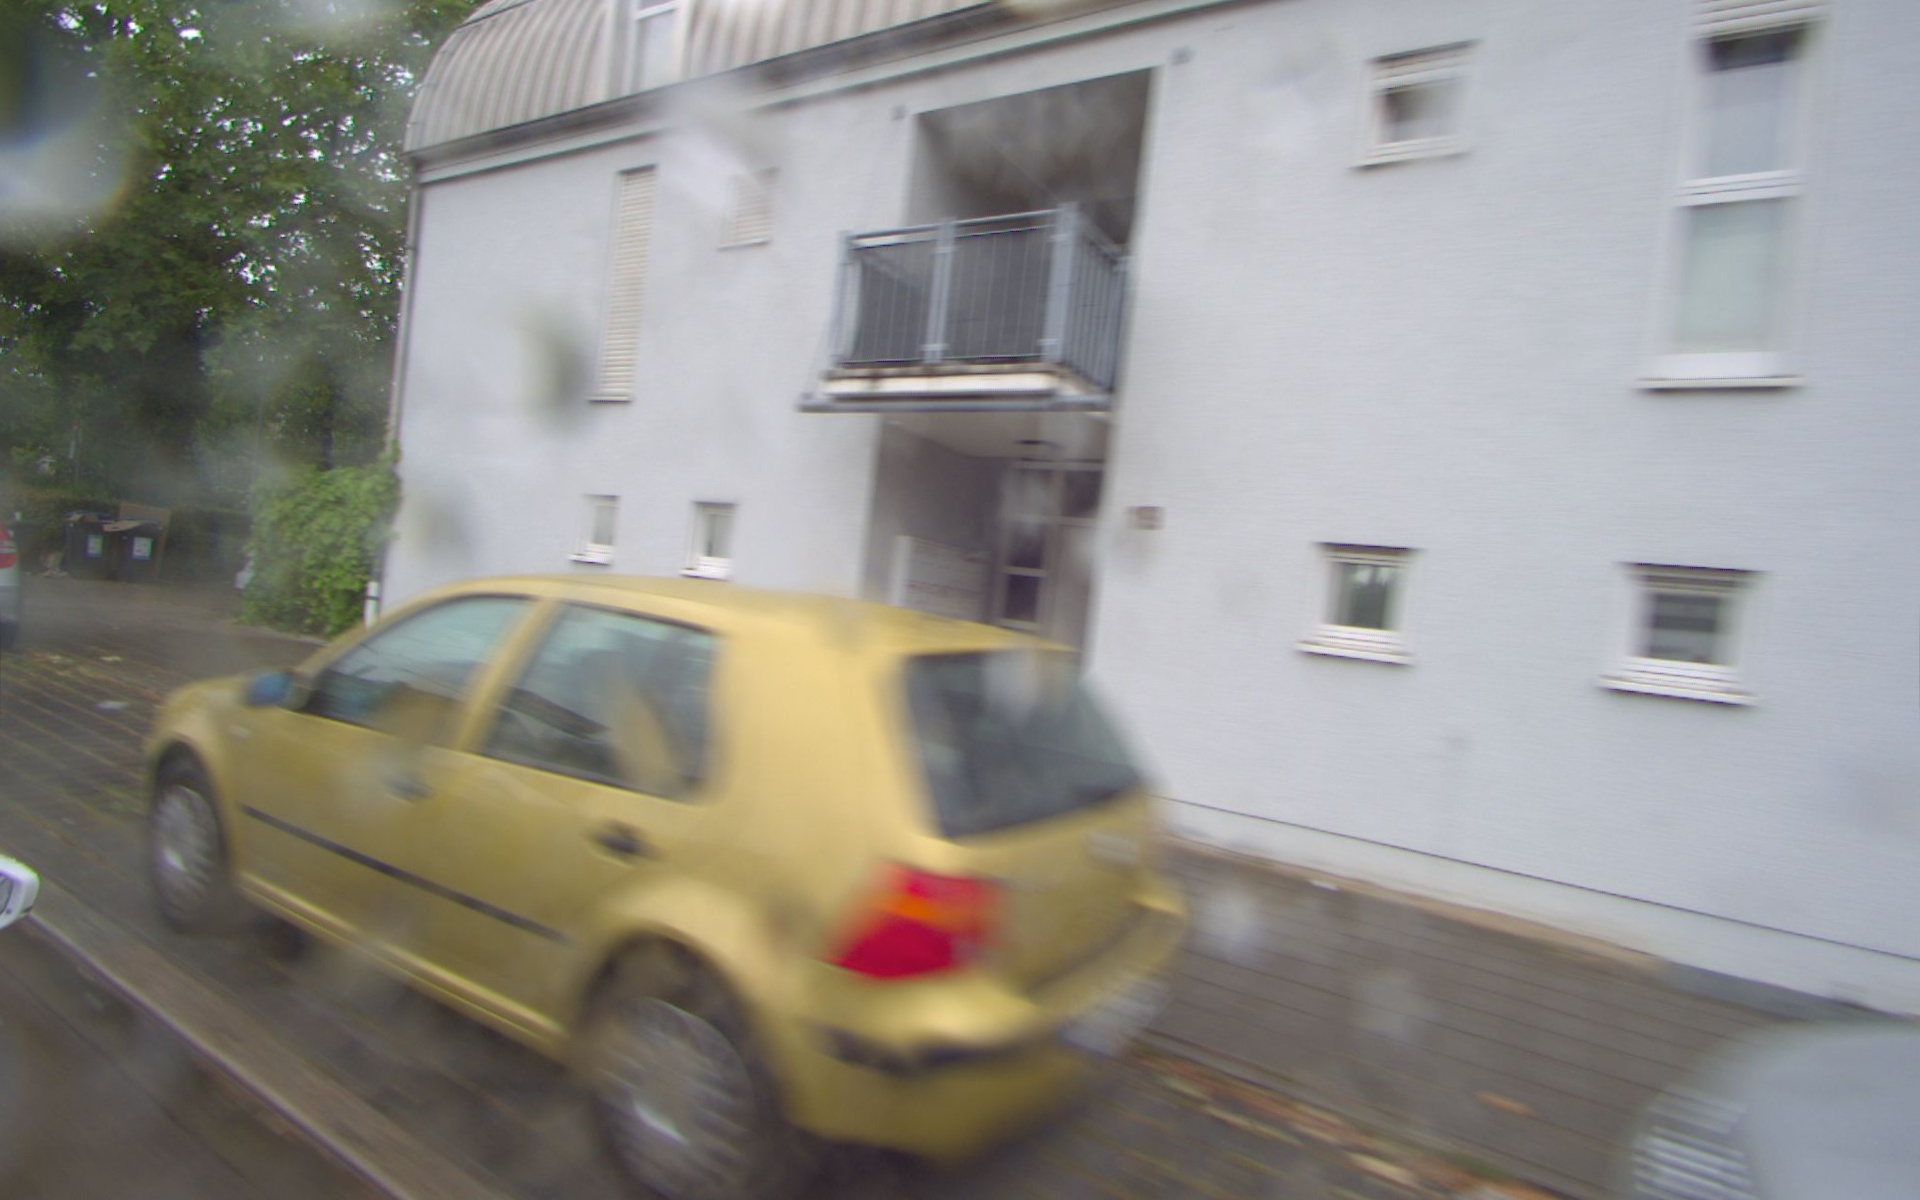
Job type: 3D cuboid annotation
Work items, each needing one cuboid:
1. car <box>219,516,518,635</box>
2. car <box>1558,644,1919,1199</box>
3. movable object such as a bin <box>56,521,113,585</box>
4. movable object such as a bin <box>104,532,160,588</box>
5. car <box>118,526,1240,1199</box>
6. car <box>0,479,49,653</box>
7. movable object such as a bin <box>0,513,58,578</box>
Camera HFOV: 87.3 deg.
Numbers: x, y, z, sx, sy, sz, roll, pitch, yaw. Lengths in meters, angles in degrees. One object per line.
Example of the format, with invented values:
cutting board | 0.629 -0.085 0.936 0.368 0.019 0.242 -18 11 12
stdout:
car | -9.409 -0.333 16.266 1.732 1.393 3.700 6 -2 34
car | 3.050 0.984 0.579 4.573 1.424 1.650 6 2 32
movable object such as a bin | -15.335 -0.826 17.621 0.726 1.035 0.536 6 2 31
movable object such as a bin | -14.828 -0.717 18.023 0.726 0.911 0.536 6 2 31
car | -1.162 0.600 3.619 3.732 1.424 1.806 6 2 32
car | -10.073 -0.451 9.083 3.732 1.487 1.806 6 2 32
movable object such as a bin | -16.197 -0.945 17.373 0.810 1.035 0.692 6 2 31
